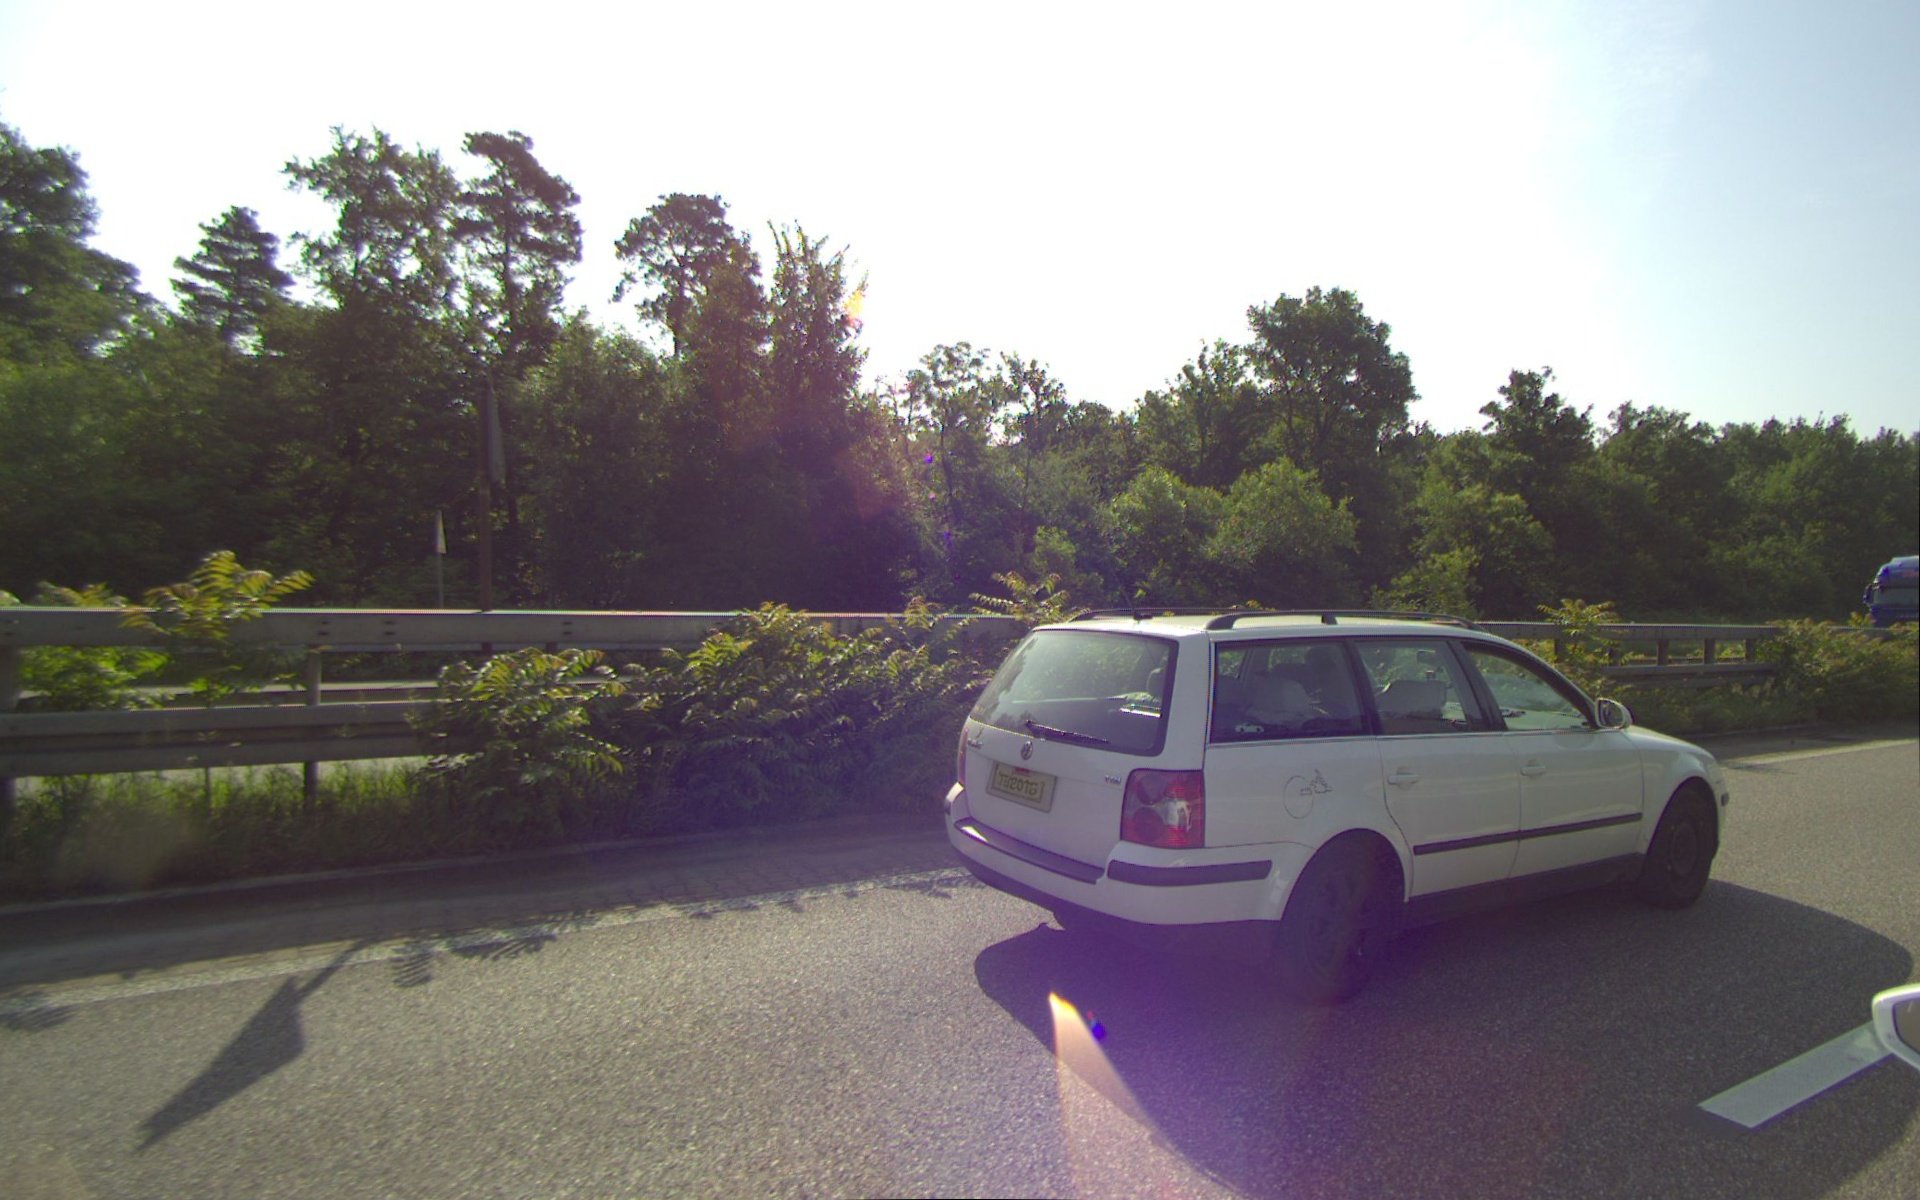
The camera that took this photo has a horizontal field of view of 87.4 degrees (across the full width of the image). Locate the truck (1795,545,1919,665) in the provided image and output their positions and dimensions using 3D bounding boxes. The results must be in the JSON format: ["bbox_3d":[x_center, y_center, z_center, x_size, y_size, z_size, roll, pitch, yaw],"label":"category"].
[{"bbox_3d":[34.517,0.244,37.248,8.318,4.052,2.771,1,0,-31],"label":"truck"}]

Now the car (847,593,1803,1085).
[{"bbox_3d":[2.159,0.785,5.183,5.203,1.505,1.741,1,0,-31],"label":"car"}]

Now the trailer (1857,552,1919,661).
[{"bbox_3d":[40.618,0.340,40.891,11.300,4.052,2.817,1,0,-31],"label":"trailer"}]
